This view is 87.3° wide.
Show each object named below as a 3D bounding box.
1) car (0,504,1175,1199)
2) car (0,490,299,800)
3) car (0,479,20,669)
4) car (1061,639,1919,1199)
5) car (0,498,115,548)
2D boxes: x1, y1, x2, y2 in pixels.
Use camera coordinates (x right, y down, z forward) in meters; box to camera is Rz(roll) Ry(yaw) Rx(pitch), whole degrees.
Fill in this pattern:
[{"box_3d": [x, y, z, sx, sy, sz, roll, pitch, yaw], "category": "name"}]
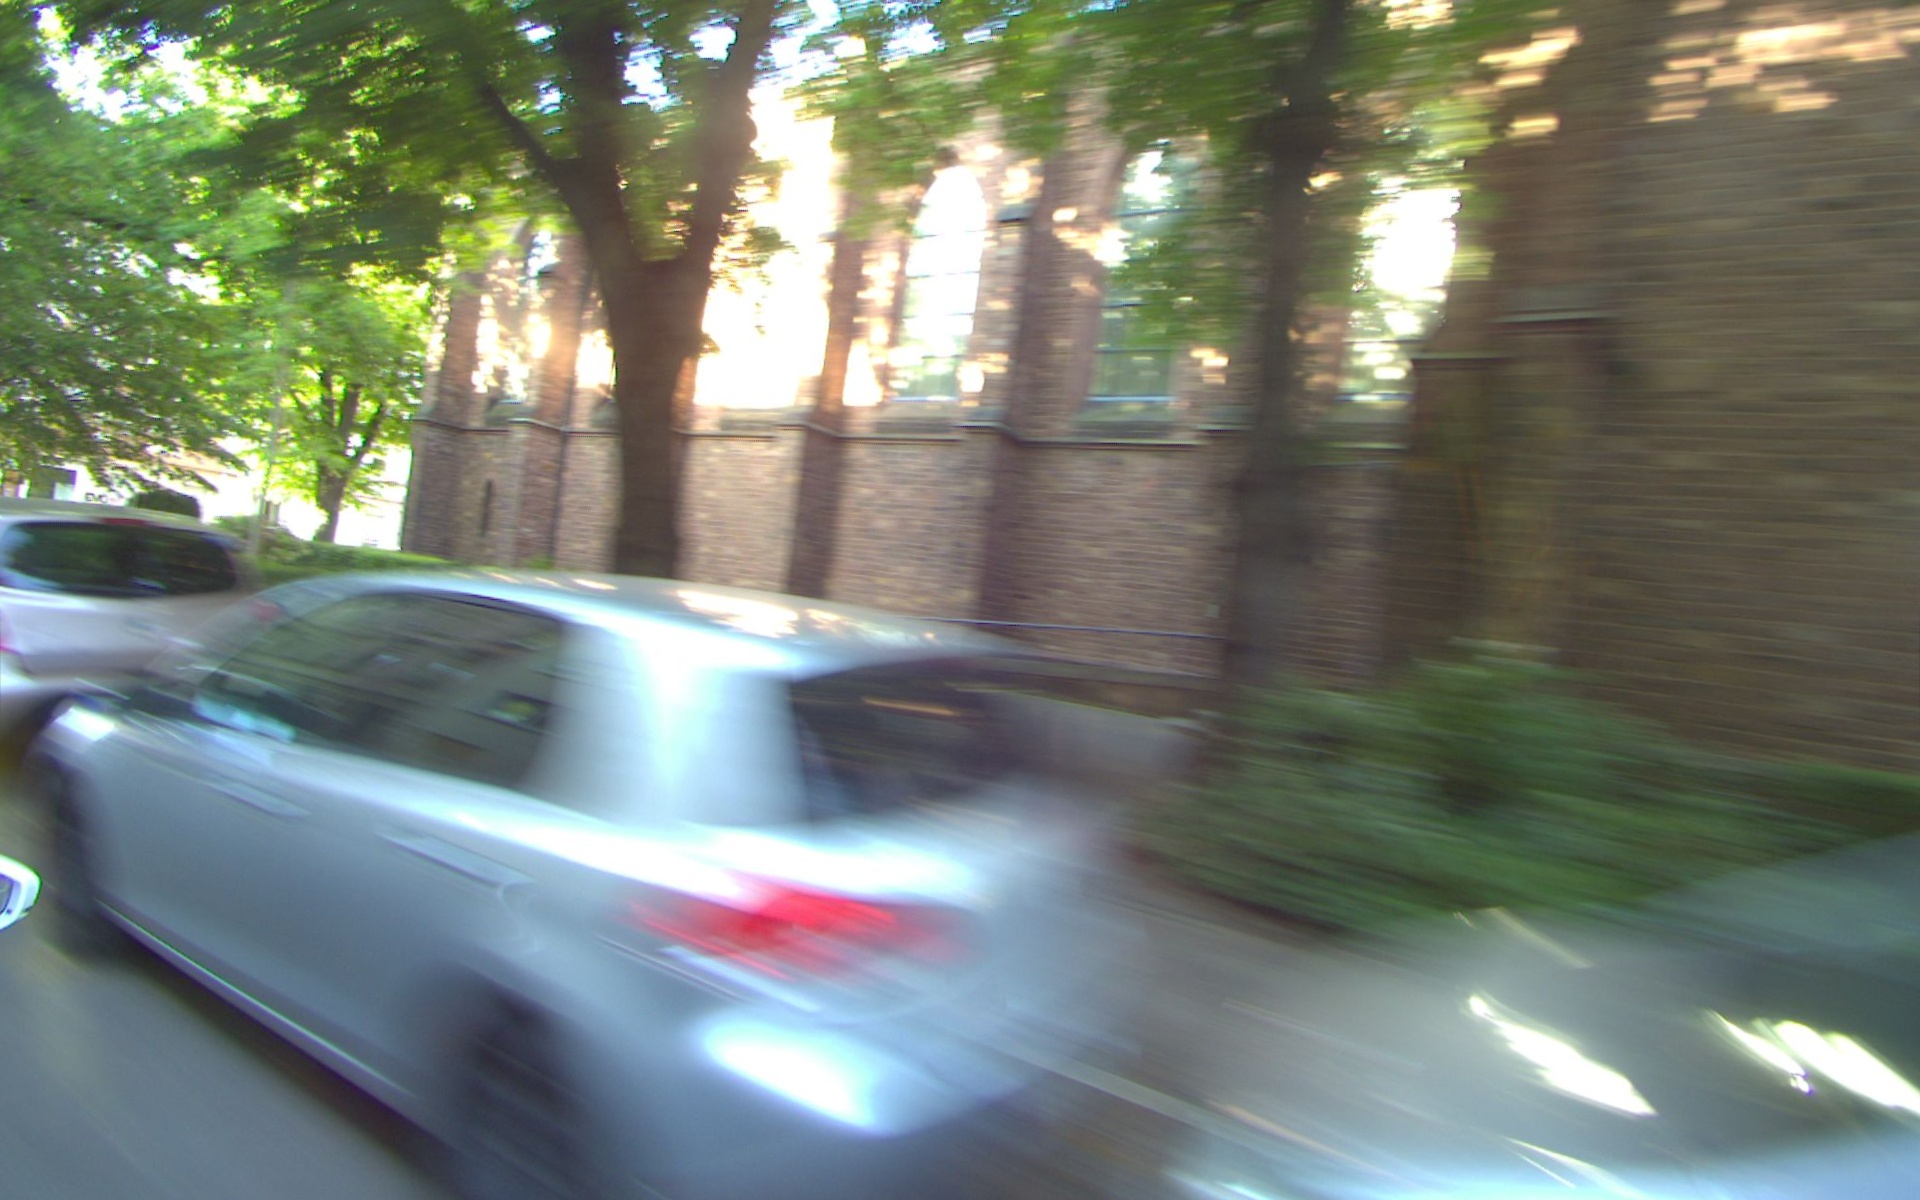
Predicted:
[{"box_3d": [-1.456, 0.599, 3.297, 3.806, 1.489, 1.600, 6, 1, 32], "category": "car"}, {"box_3d": [-5.828, 0.083, 6.216, 3.505, 1.488, 1.598, 6, 3, 32], "category": "car"}, {"box_3d": [-9.587, -0.359, 8.369, 3.566, 1.526, 1.599, 6, 3, 30], "category": "car"}, {"box_3d": [2.096, 1.016, 1.096, 3.659, 1.526, 1.598, 6, 3, 32], "category": "car"}, {"box_3d": [-38.981, -3.281, 43.149, 1.610, 1.489, 3.855, 4, -4, 38], "category": "car"}]
